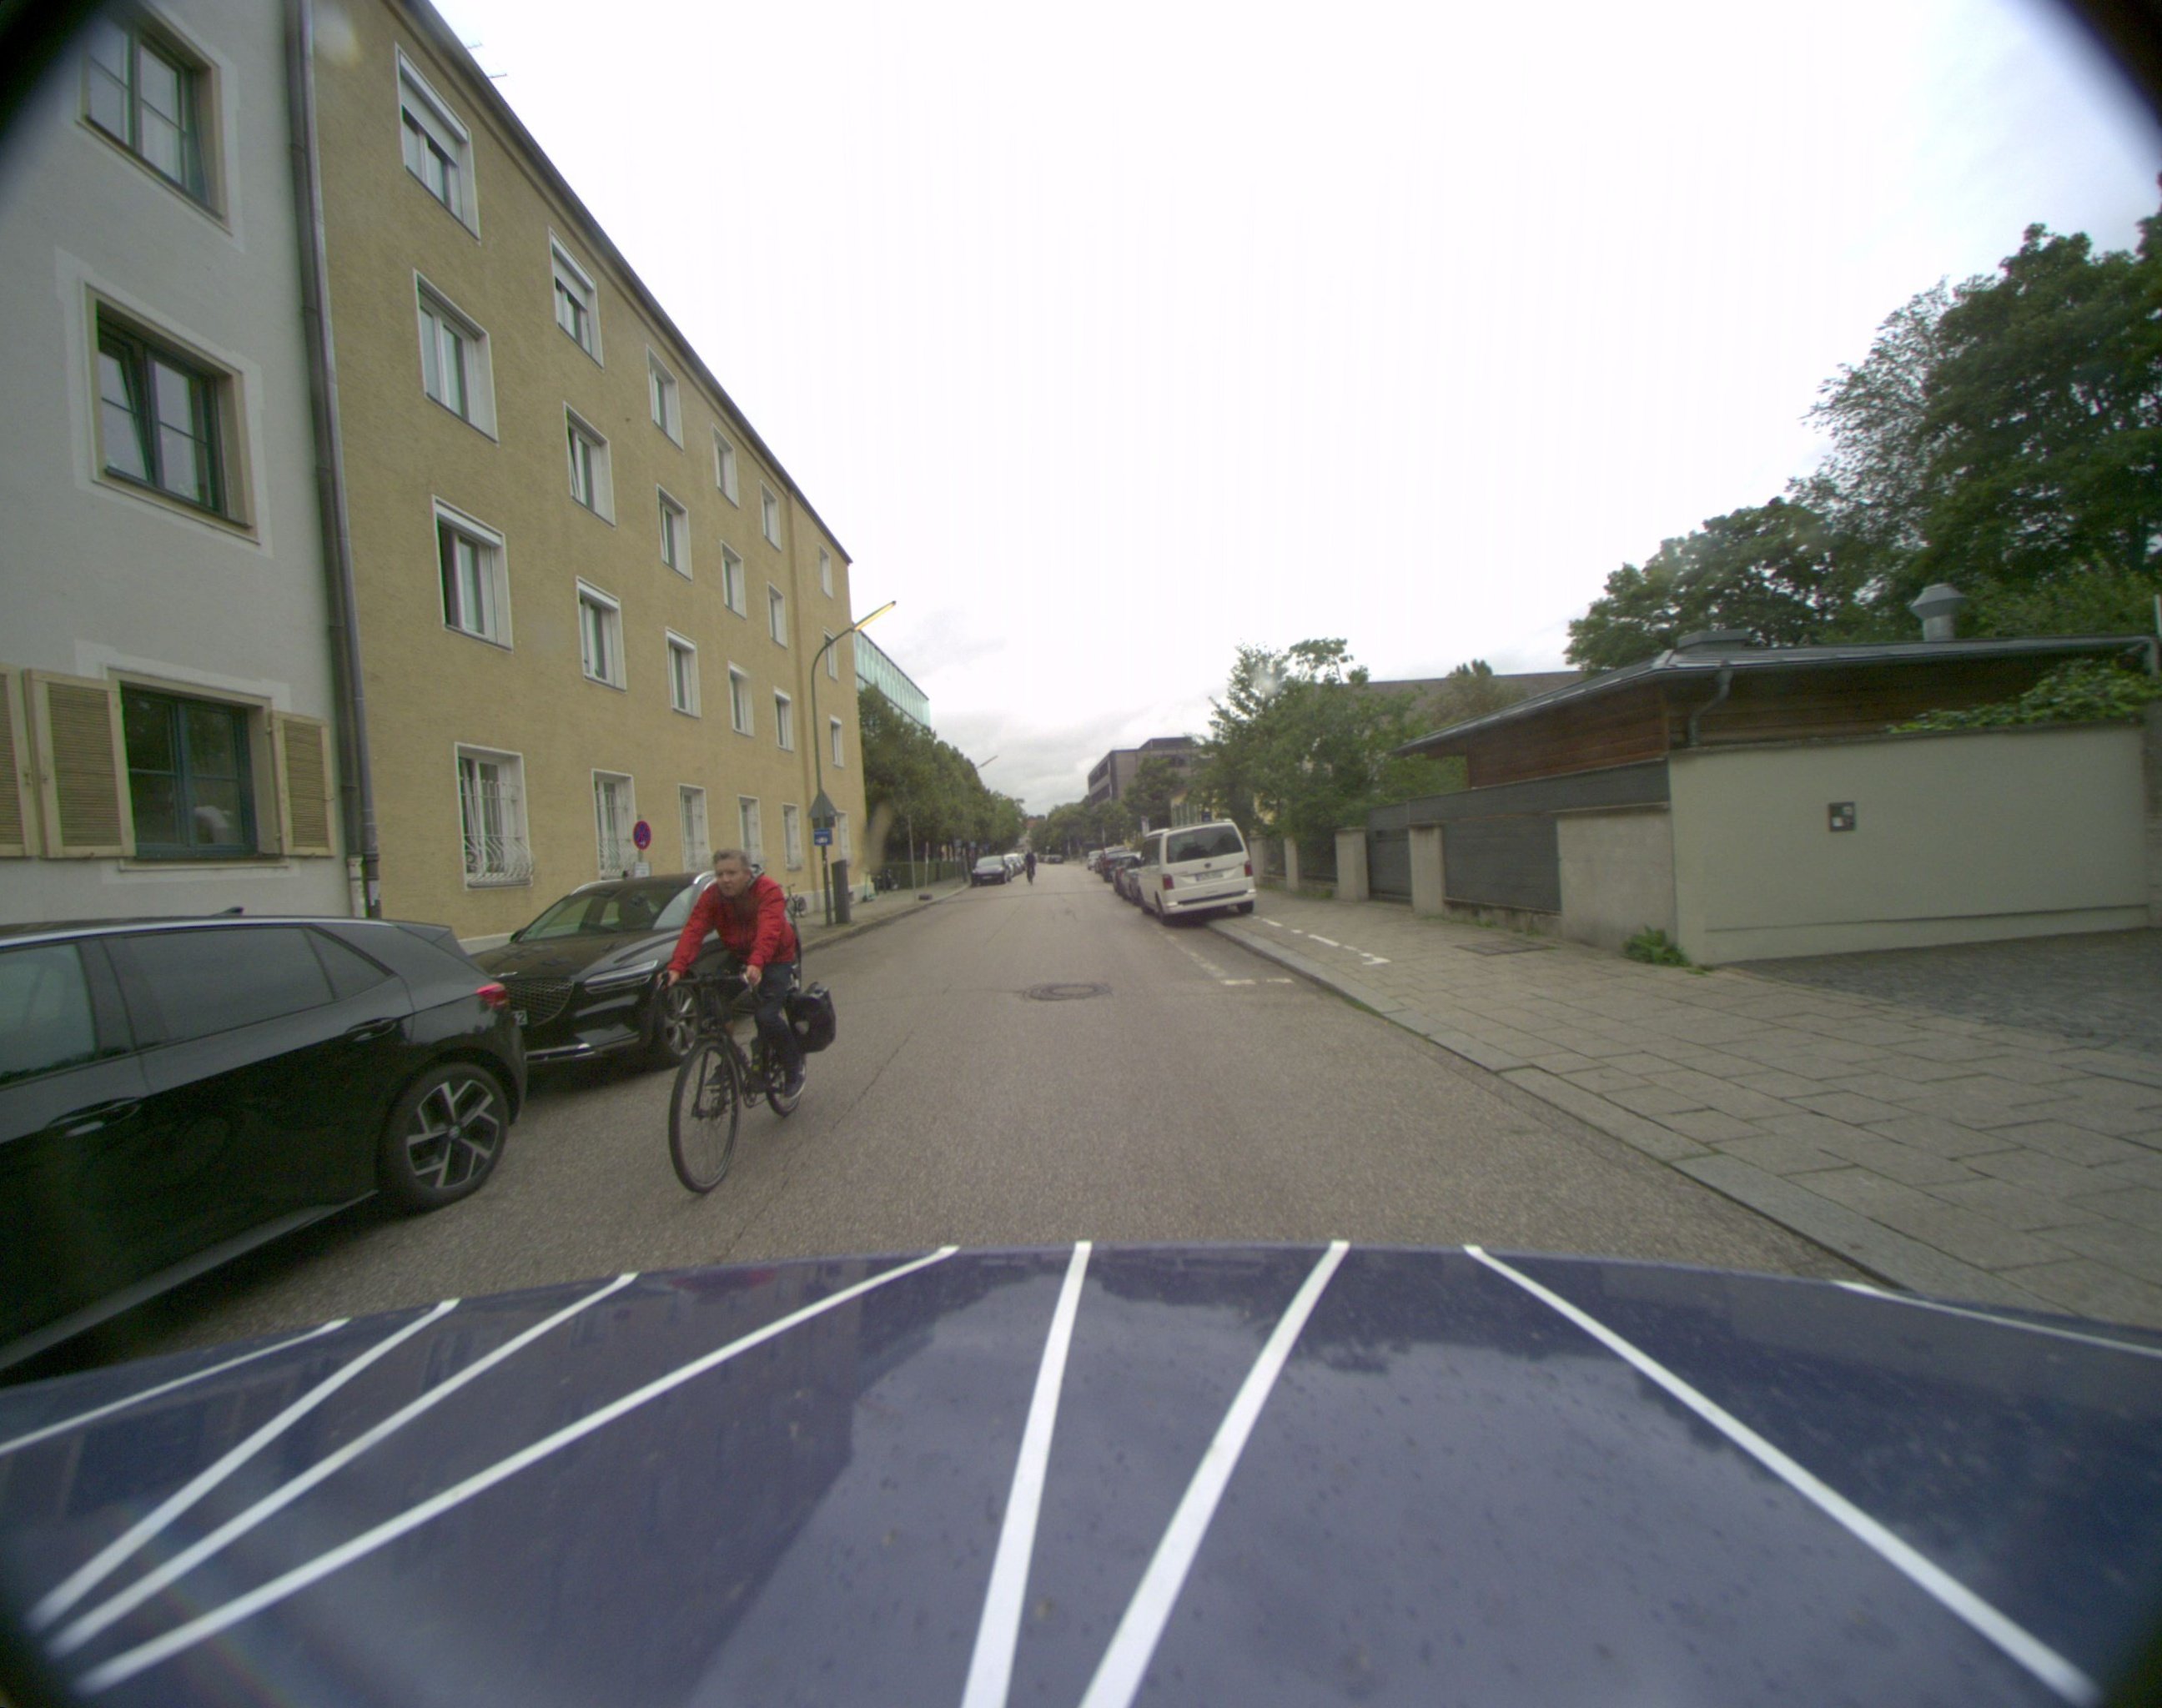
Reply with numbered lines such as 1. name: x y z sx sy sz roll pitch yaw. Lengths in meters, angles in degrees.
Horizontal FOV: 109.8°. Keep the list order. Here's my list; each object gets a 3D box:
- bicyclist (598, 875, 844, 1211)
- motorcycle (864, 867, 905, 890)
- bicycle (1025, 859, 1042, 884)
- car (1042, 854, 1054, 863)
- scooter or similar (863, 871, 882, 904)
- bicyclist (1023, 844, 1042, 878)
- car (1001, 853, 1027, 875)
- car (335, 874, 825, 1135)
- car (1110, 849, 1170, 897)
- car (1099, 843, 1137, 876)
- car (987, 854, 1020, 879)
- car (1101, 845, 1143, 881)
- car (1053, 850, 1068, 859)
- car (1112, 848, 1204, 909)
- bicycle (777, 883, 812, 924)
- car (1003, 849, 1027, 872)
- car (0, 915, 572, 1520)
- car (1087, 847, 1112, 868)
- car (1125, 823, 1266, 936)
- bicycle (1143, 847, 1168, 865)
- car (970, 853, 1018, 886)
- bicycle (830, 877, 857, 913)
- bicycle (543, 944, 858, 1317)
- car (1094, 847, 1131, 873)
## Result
1. bicyclist: -1.833 0.895 4.054 0.756 1.474 0.981 -5 1 -5
2. motorcycle: -10.115 1.263 39.234 1.899 1.126 0.708 -1 1 0
3. bicycle: -2.429 0.880 39.133 0.720 1.199 1.801 -5 0 -1
4. car: -6.451 0.890 147.932 1.999 1.510 3.998 -5 1 -6
5. scooter or similar: -8.258 1.318 30.107 0.343 1.248 1.309 -2 1 -1
6. bicyclist: -2.478 0.356 39.175 0.780 1.657 1.034 -5 0 -2
7. car: -5.718 0.823 65.242 1.952 1.543 5.003 -5 1 -3
8. car: -4.317 1.113 7.772 1.865 1.568 4.898 -3 1 -3
9. car: 2.100 0.646 28.053 1.863 1.536 4.187 -2 1 0
10. car: 2.179 0.297 45.838 1.907 1.682 4.807 -5 1 0
11. car: -5.461 0.847 53.897 1.999 1.451 4.955 -5 1 -3
12. car: 2.023 0.400 38.922 1.850 1.598 4.742 -5 1 1
13. car: -3.277 0.068 119.205 1.930 1.391 4.484 -4 1 -6
14. car: 2.191 0.656 22.964 1.892 1.535 4.694 -4 0 -4
15. bicycle: -8.457 1.446 22.462 0.343 1.076 1.813 -1 1 -1
16. car: -6.137 0.564 71.108 1.789 1.885 4.573 -5 1 -1
17. car: -4.044 1.188 2.337 1.843 1.522 4.415 -3 1 1
18. car: 1.486 0.256 63.552 1.729 1.483 4.460 -5 1 -1
19. car: 2.333 0.463 16.989 1.972 1.979 5.149 -5 1 -3
20. bicycle: 5.140 0.156 52.731 1.633 1.130 0.387 -4 1 -3
21. car: -4.977 0.844 44.369 1.998 1.621 5.099 -5 1 1
22. bicycle: -8.204 1.409 26.325 0.343 1.129 1.759 -4 1 -1
23. bicycle: -1.771 1.196 3.966 0.674 1.135 2.010 -5 1 -5
24. car: 2.060 0.376 51.229 1.902 1.510 4.653 -5 1 -4
